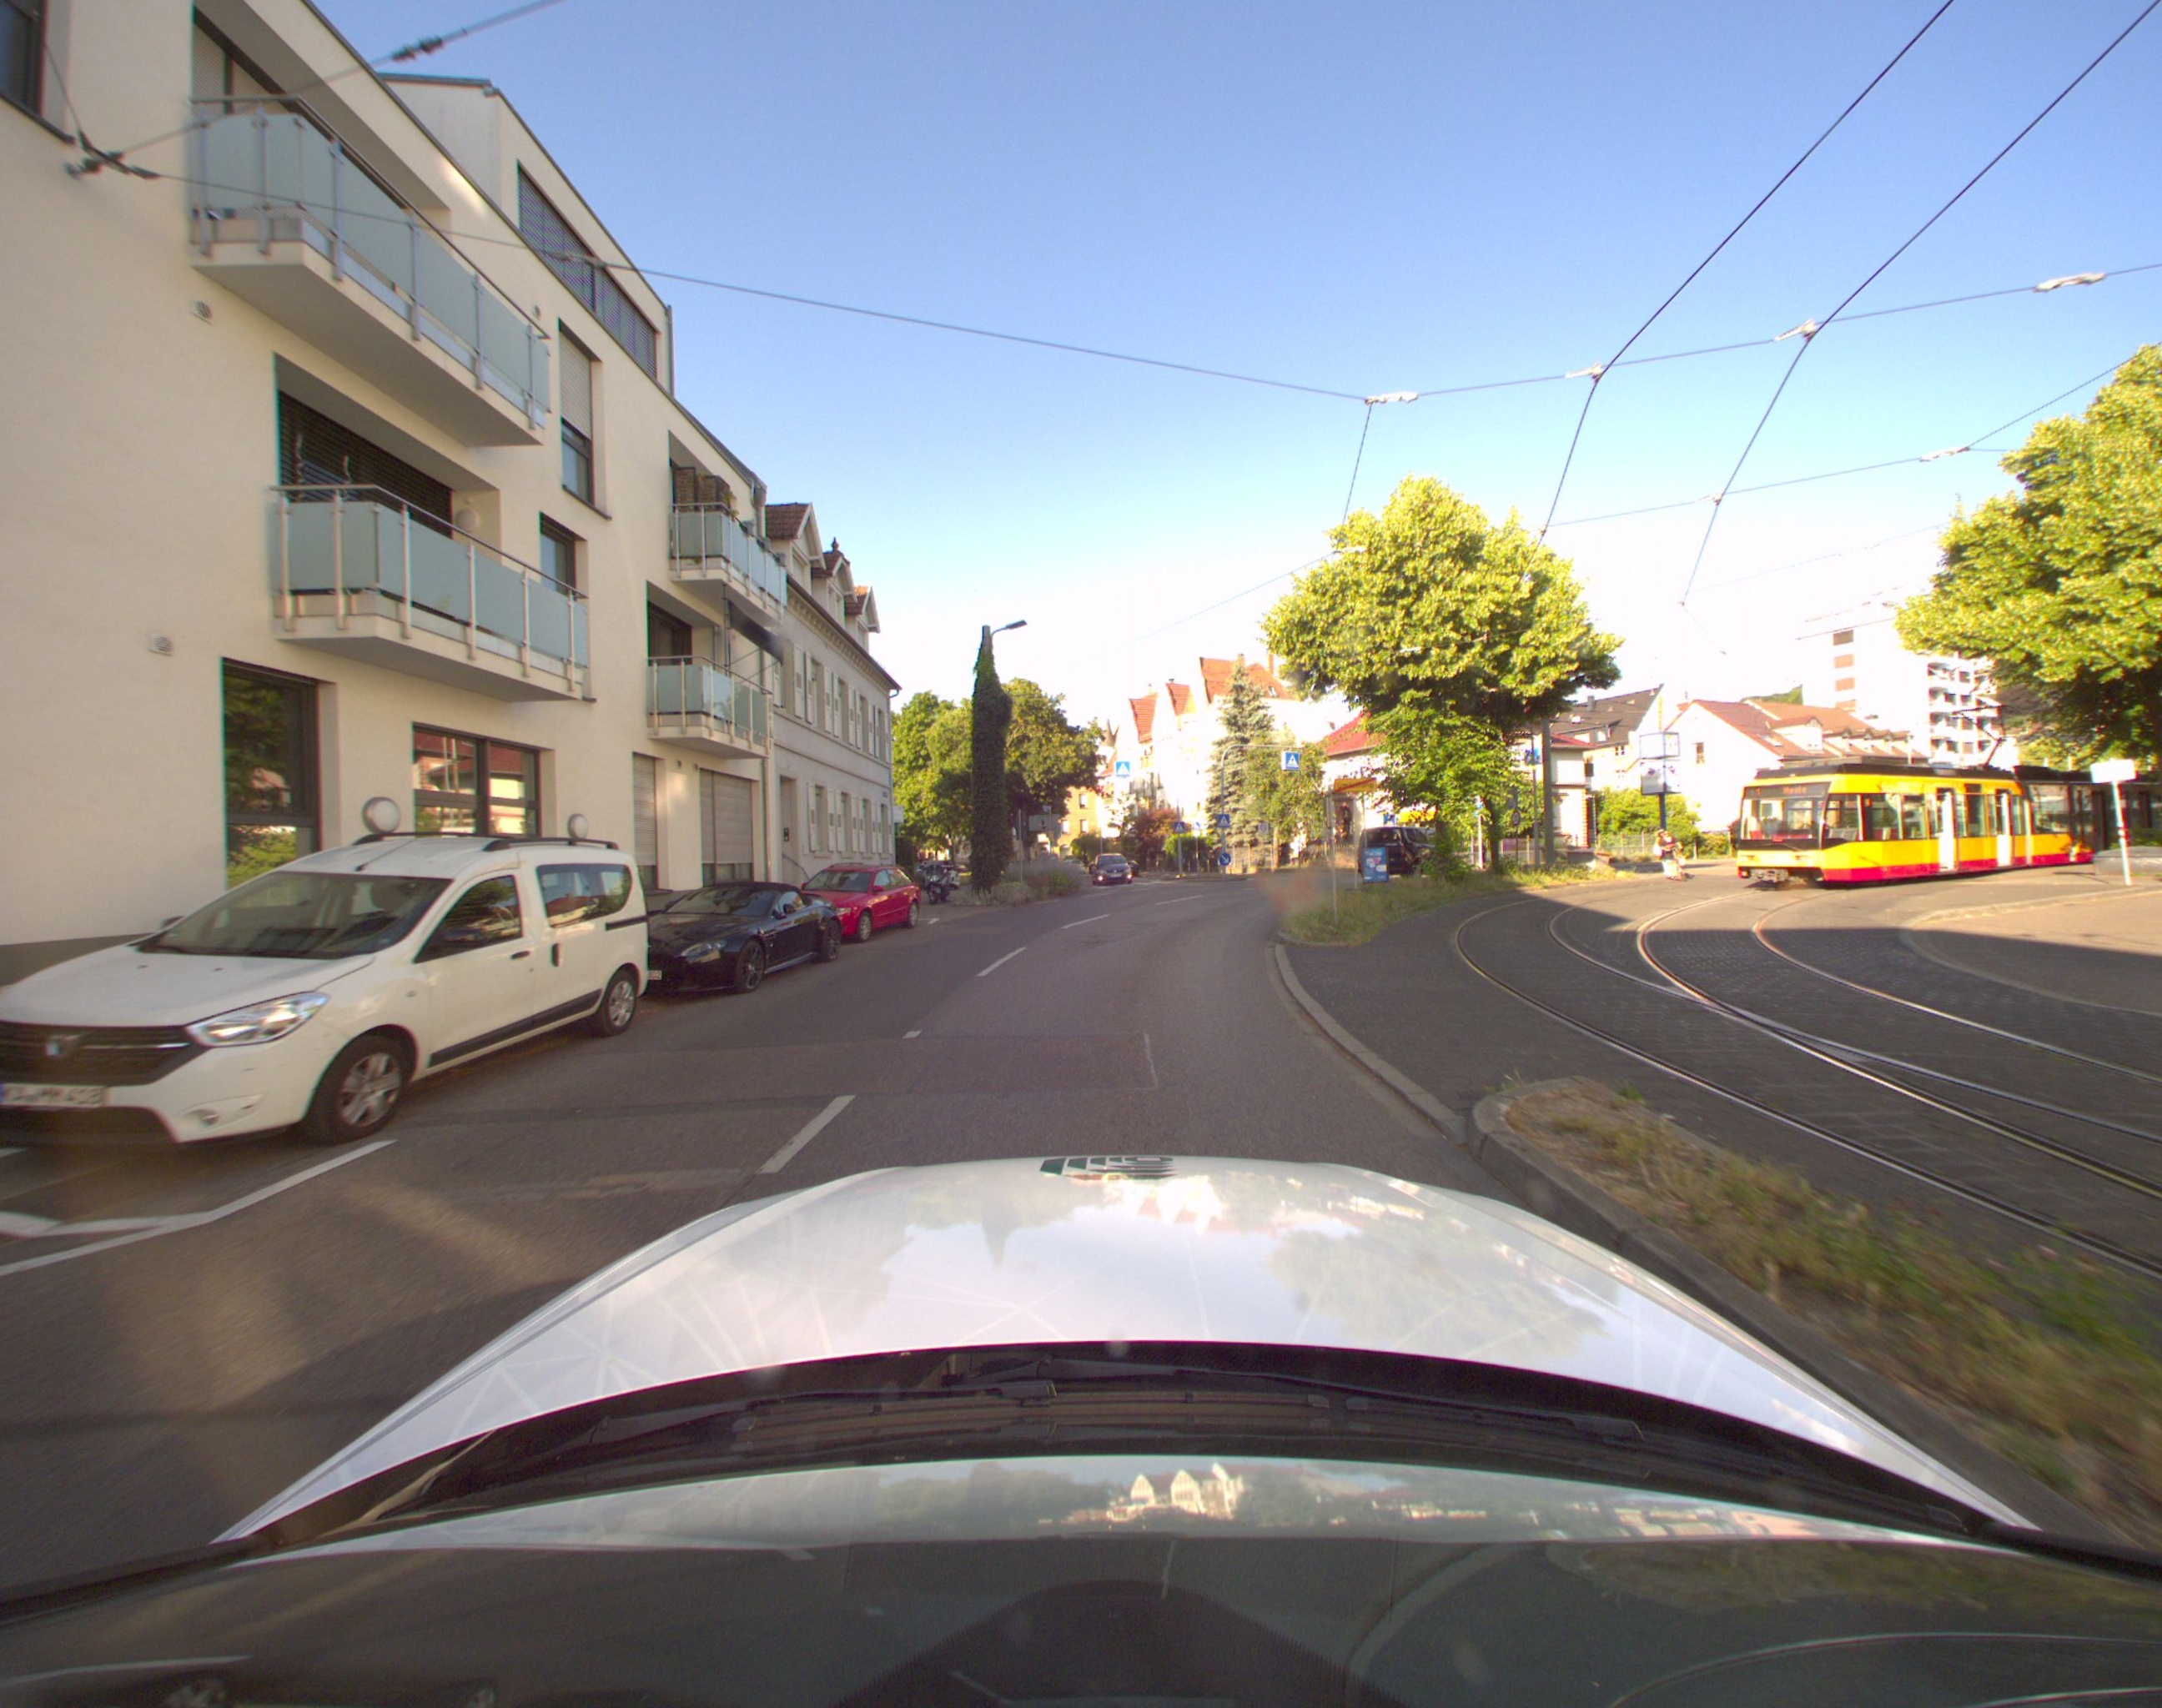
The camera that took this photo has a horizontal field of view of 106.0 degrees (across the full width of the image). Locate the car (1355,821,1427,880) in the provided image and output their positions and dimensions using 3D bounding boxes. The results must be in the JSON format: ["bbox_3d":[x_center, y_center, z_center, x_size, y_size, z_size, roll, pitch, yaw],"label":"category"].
[{"bbox_3d":[11.504,-0.119,30.036,1.975,2.013,4.024,-1,0,28],"label":"car"}]

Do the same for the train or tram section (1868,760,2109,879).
[{"bbox_3d":[31.026,-1.131,27.722,9.938,3.555,2.761,-1,0,-26],"label":"train or tram section"}]

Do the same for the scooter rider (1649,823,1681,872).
[{"bbox_3d":[20.512,-0.232,28.614,0.653,1.672,0.605,-2,0,-13],"label":"scooter rider"}]

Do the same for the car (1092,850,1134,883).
[{"bbox_3d":[1.494,0.574,38.697,1.708,1.403,3.736,-3,0,-2],"label":"car"}]

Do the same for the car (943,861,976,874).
[{"bbox_3d":[-15.905,1.796,106.424,2.357,1.596,4.878,0,-1,-33],"label":"car"}]

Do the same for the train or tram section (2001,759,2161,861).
[{"bbox_3d":[40.047,-1.617,31.827,9.938,3.555,2.761,-1,0,-26],"label":"train or tram section"}]

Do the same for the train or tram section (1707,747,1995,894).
[{"bbox_3d":[22.154,-0.901,23.253,9.941,3.555,2.760,-1,0,-27],"label":"train or tram section"}]

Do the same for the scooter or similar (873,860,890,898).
[{"bbox_3d":[-6.716,0.814,27.396,0.509,1.229,1.533,0,-1,-15],"label":"scooter or similar"}]

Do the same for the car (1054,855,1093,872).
[{"bbox_3d":[-0.773,0.922,78.888,2.347,1.596,4.897,0,-1,-19],"label":"car"}]

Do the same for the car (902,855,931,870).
[{"bbox_3d":[-23.524,1.179,116.195,2.357,2.041,4.878,0,-1,-33],"label":"car"}]

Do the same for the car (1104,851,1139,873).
[{"bbox_3d":[3.104,0.635,63.166,1.993,1.596,3.987,0,-1,-9],"label":"car"}]

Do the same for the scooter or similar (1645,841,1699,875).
[{"bbox_3d":[20.568,0.137,28.372,0.684,1.136,1.399,-2,0,-14],"label":"scooter or similar"}]

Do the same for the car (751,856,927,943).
[{"bbox_3d":[-4.805,0.815,16.949,1.699,1.466,4.603,1,1,8],"label":"car"}]

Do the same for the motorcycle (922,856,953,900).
[{"bbox_3d":[-4.660,0.742,26.420,0.931,1.357,2.555,0,-1,-10],"label":"motorcycle"}]

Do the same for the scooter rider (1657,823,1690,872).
[{"bbox_3d":[20.580,-0.228,28.292,0.653,1.672,0.605,-2,0,-13],"label":"scooter rider"}]

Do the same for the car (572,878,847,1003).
[{"bbox_3d":[-4.730,1.022,11.090,1.657,1.273,4.030,1,-1,4],"label":"car"}]

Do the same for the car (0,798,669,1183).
[{"bbox_3d":[-5.083,0.684,6.138,1.806,1.869,4.329,1,-1,-2],"label":"car"}]

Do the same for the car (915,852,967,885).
[{"bbox_3d":[-7.113,0.719,41.104,1.815,1.536,3.881,0,-1,-22],"label":"car"}]

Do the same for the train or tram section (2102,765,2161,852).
[{"bbox_3d":[49.057,-2.001,35.958,9.938,3.555,2.761,-1,0,-26],"label":"train or tram section"}]
